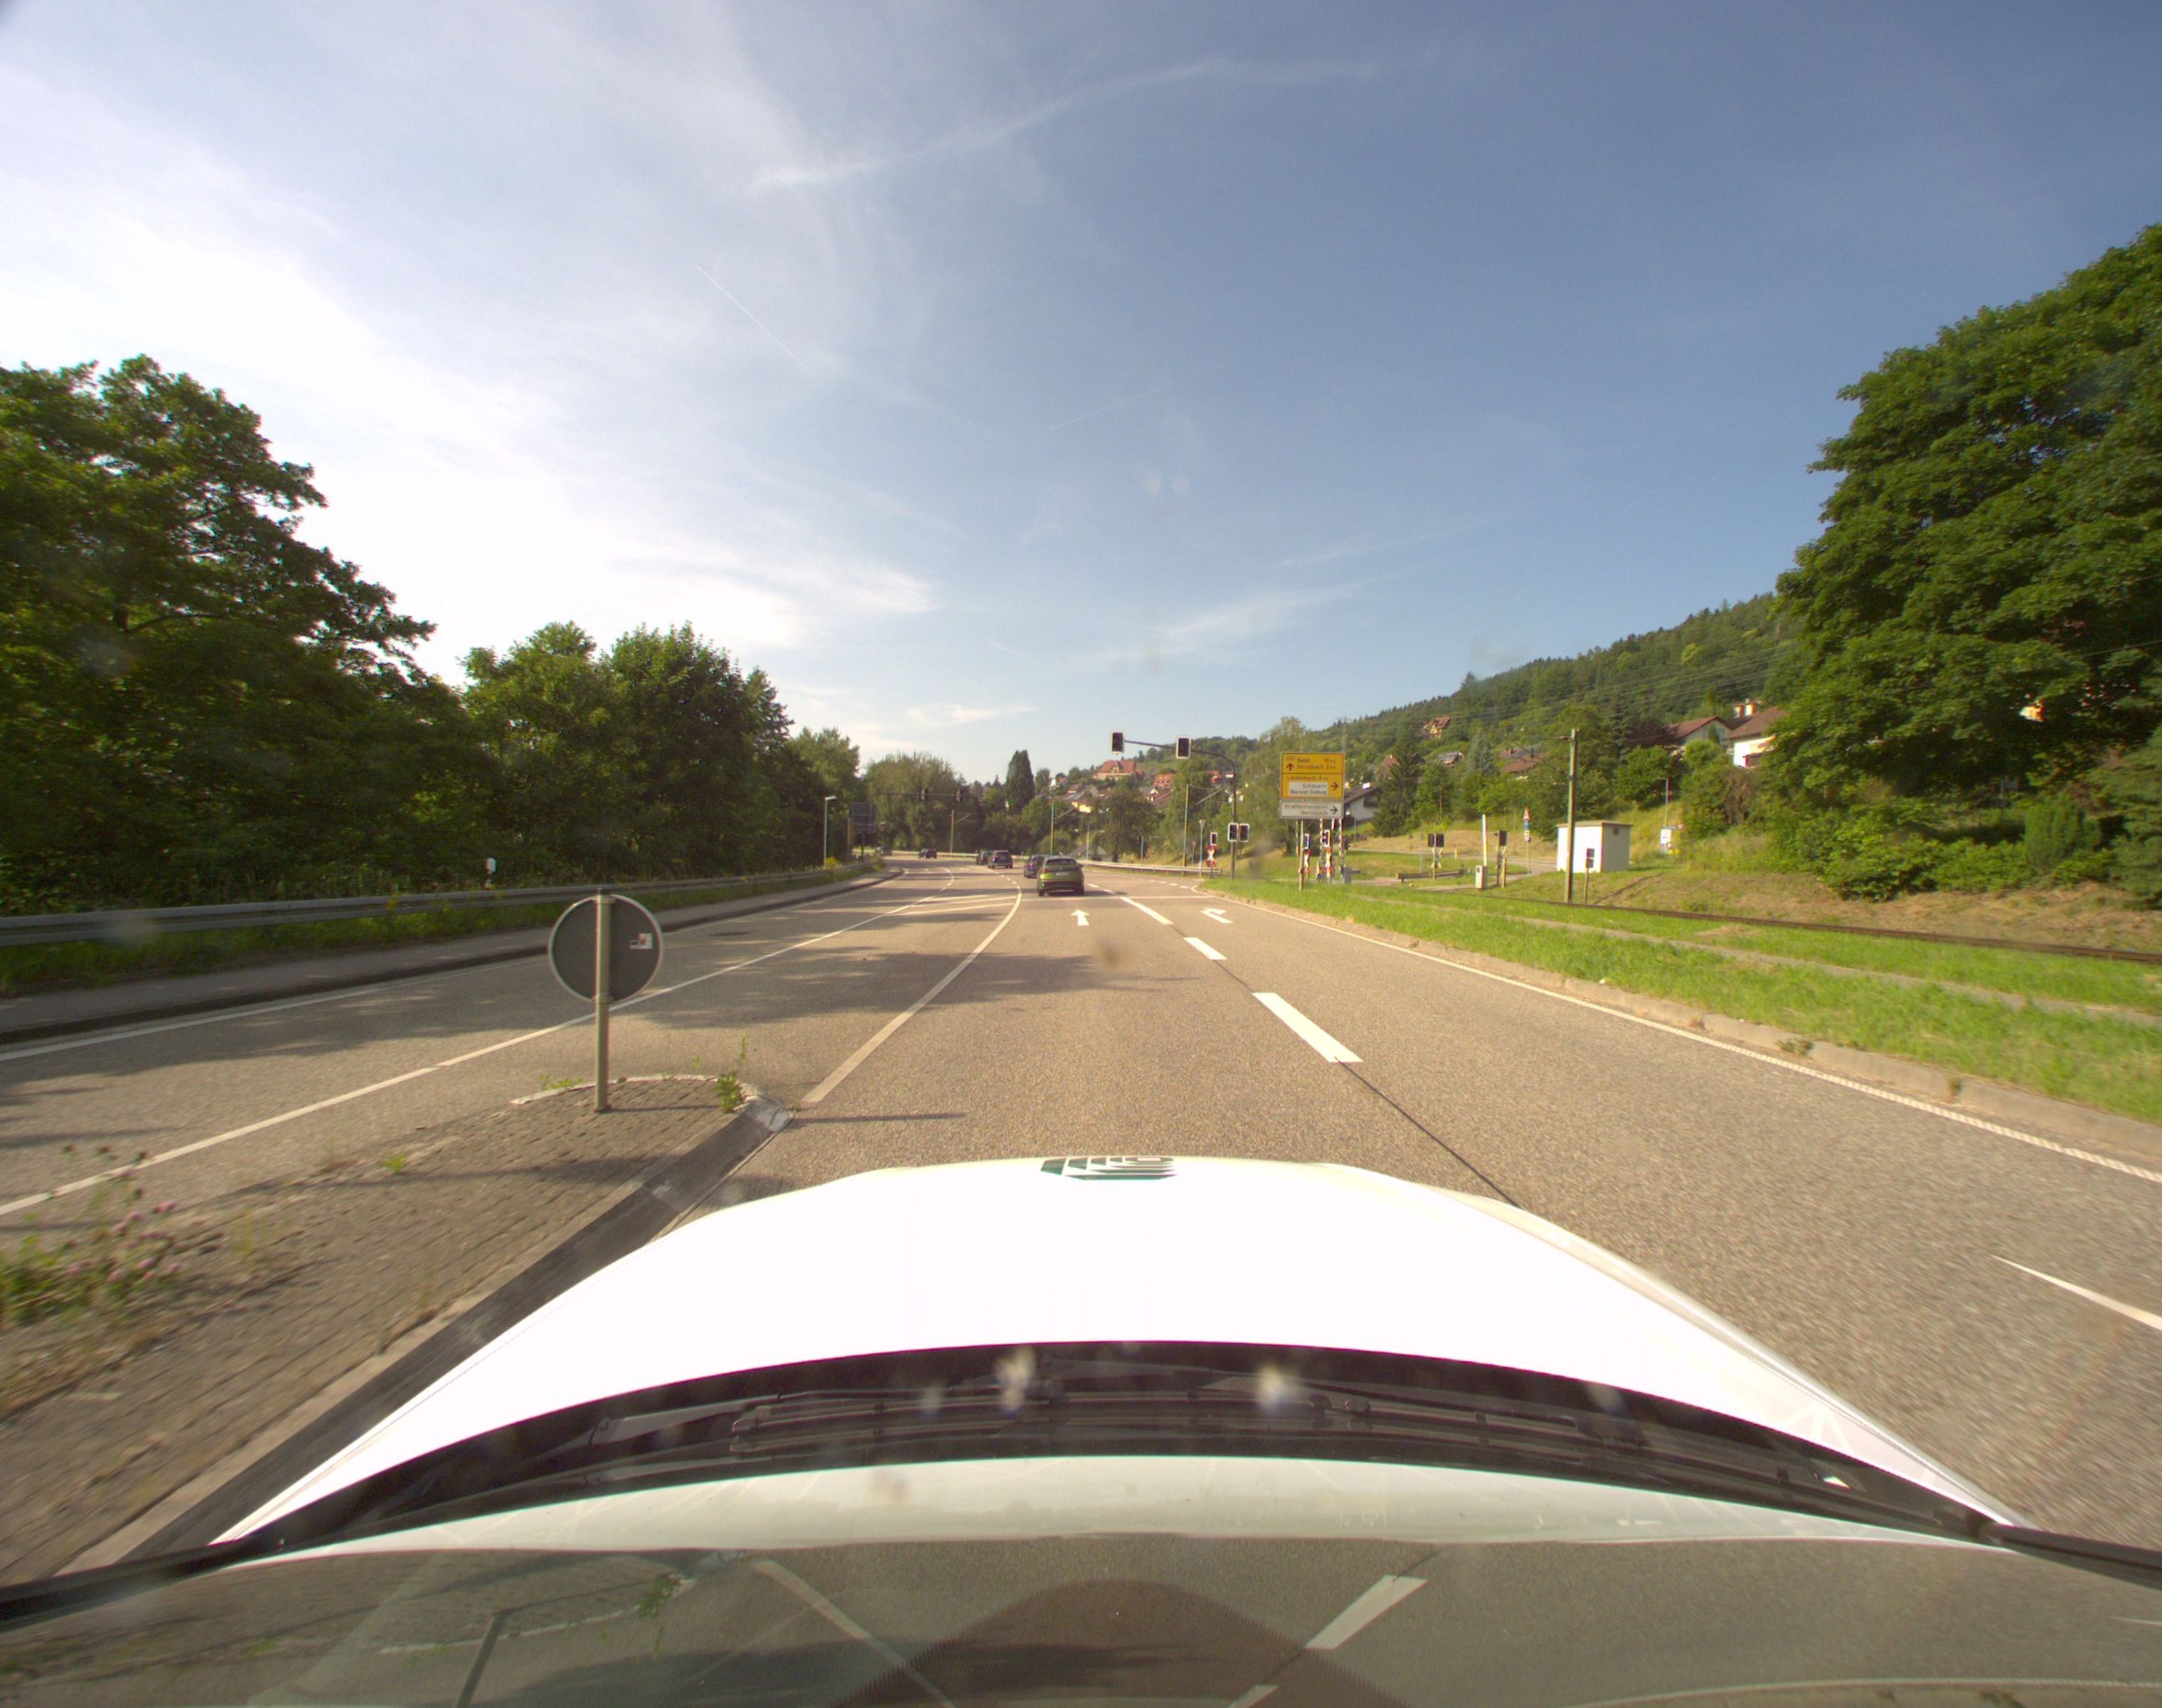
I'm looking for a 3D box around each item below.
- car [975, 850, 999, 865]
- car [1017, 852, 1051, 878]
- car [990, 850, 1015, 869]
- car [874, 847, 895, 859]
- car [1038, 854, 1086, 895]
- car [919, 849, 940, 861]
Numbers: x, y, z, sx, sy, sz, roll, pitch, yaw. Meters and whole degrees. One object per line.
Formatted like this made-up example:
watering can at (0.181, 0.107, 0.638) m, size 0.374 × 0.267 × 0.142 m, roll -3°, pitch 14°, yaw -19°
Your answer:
car at (-10.048, 0.349, 87.004) m, size 1.854 × 1.527 × 3.640 m, roll 0°, pitch 1°, yaw -18°
car at (-2.933, 0.640, 50.221) m, size 1.667 × 1.559 × 3.986 m, roll 0°, pitch 0°, yaw -10°
car at (-7.086, 0.461, 73.602) m, size 1.881 × 1.686 × 3.984 m, roll 0°, pitch 0°, yaw -11°
car at (-32.686, -0.169, 135.241) m, size 2.078 × 1.811 × 3.958 m, roll -1°, pitch 1°, yaw -34°
car at (-0.725, 0.747, 31.645) m, size 1.710 × 1.455 × 3.998 m, roll -2°, pitch 0°, yaw -1°
car at (-22.312, 0.126, 119.591) m, size 2.005 × 1.745 × 3.964 m, roll 0°, pitch 0°, yaw -28°
